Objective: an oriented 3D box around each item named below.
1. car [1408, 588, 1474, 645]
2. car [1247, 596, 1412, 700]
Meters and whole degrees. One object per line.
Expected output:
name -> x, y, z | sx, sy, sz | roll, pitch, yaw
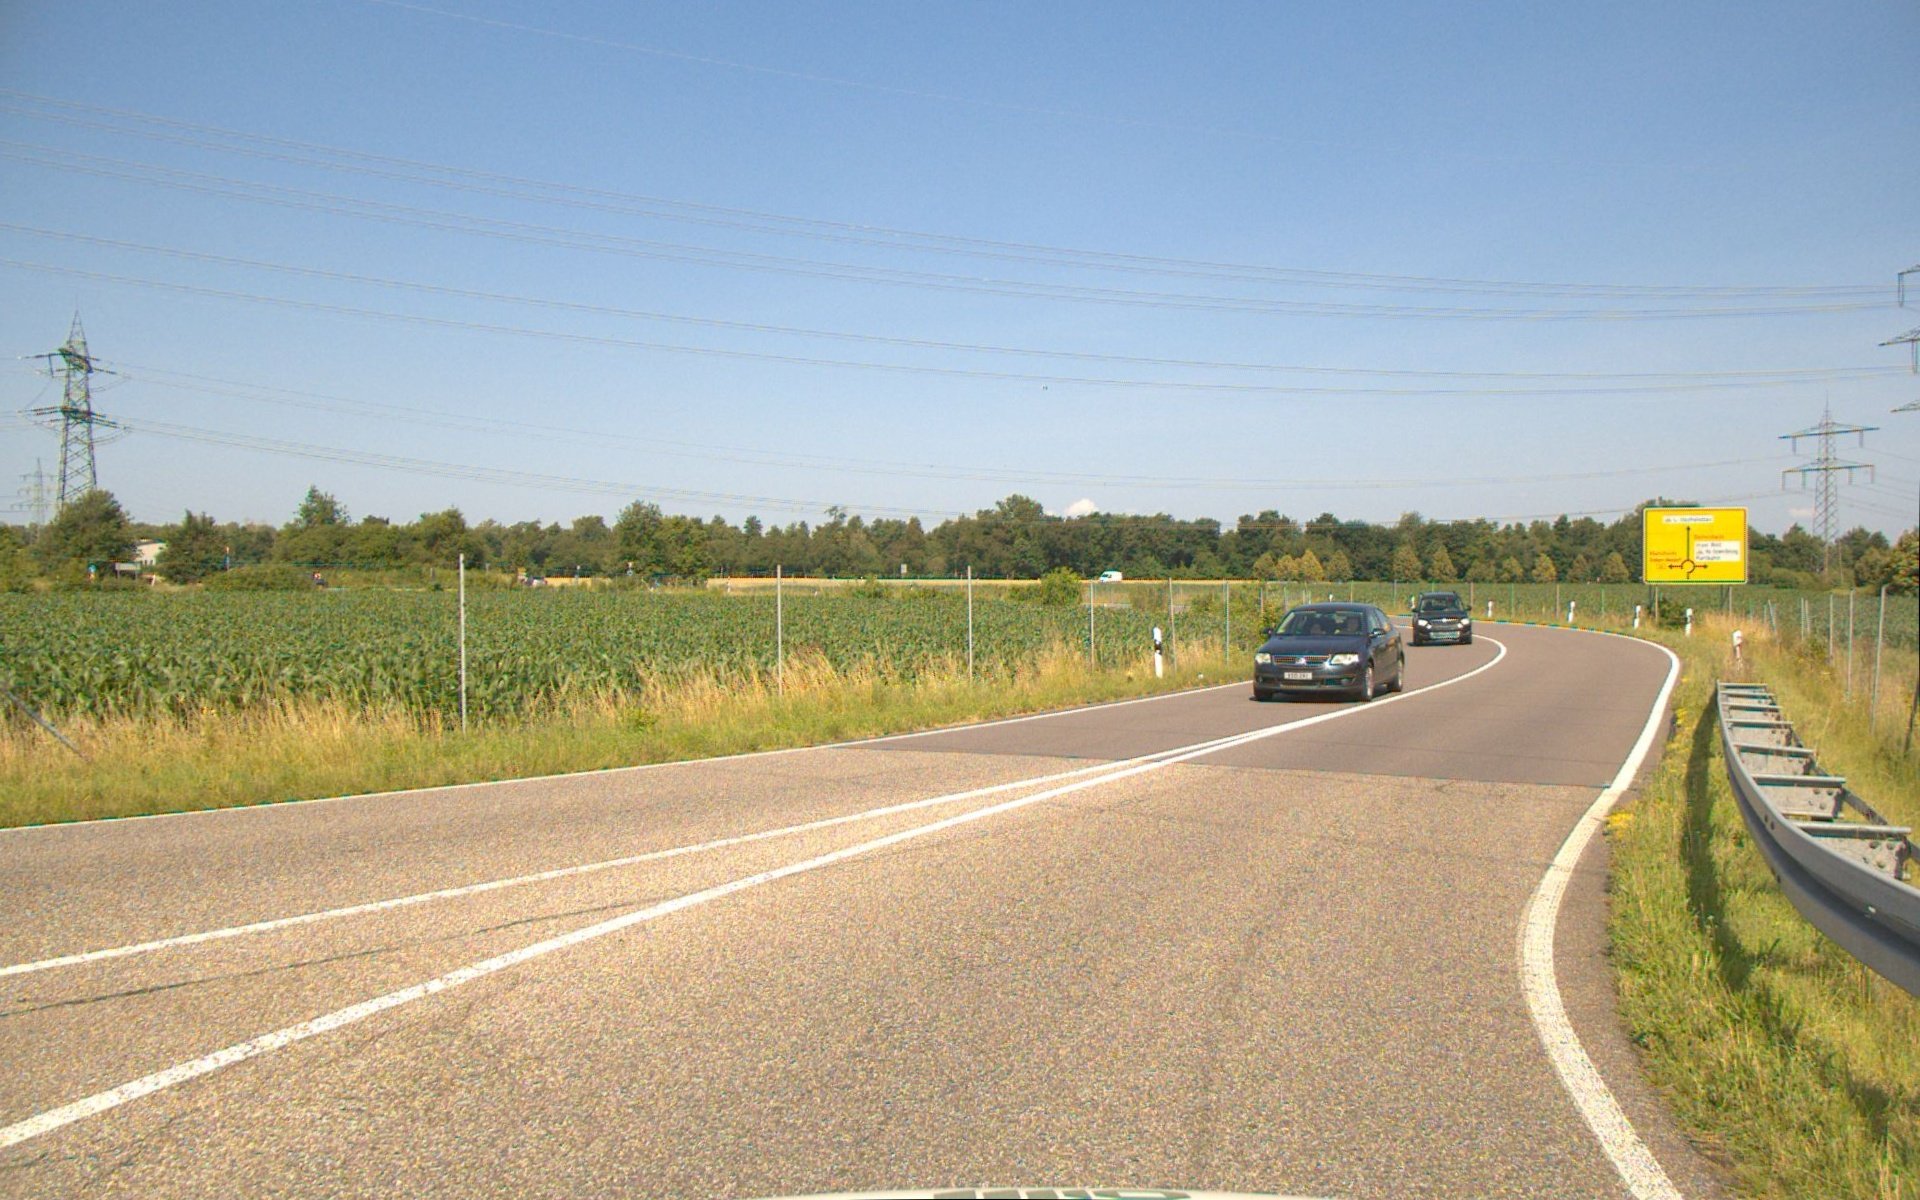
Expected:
car -> 15.774, 0.510, 54.367 | 1.941, 1.736, 4.265 | 1, 1, 15
car -> 5.952, 0.697, 26.253 | 1.739, 1.482, 4.591 | -1, 0, 23
